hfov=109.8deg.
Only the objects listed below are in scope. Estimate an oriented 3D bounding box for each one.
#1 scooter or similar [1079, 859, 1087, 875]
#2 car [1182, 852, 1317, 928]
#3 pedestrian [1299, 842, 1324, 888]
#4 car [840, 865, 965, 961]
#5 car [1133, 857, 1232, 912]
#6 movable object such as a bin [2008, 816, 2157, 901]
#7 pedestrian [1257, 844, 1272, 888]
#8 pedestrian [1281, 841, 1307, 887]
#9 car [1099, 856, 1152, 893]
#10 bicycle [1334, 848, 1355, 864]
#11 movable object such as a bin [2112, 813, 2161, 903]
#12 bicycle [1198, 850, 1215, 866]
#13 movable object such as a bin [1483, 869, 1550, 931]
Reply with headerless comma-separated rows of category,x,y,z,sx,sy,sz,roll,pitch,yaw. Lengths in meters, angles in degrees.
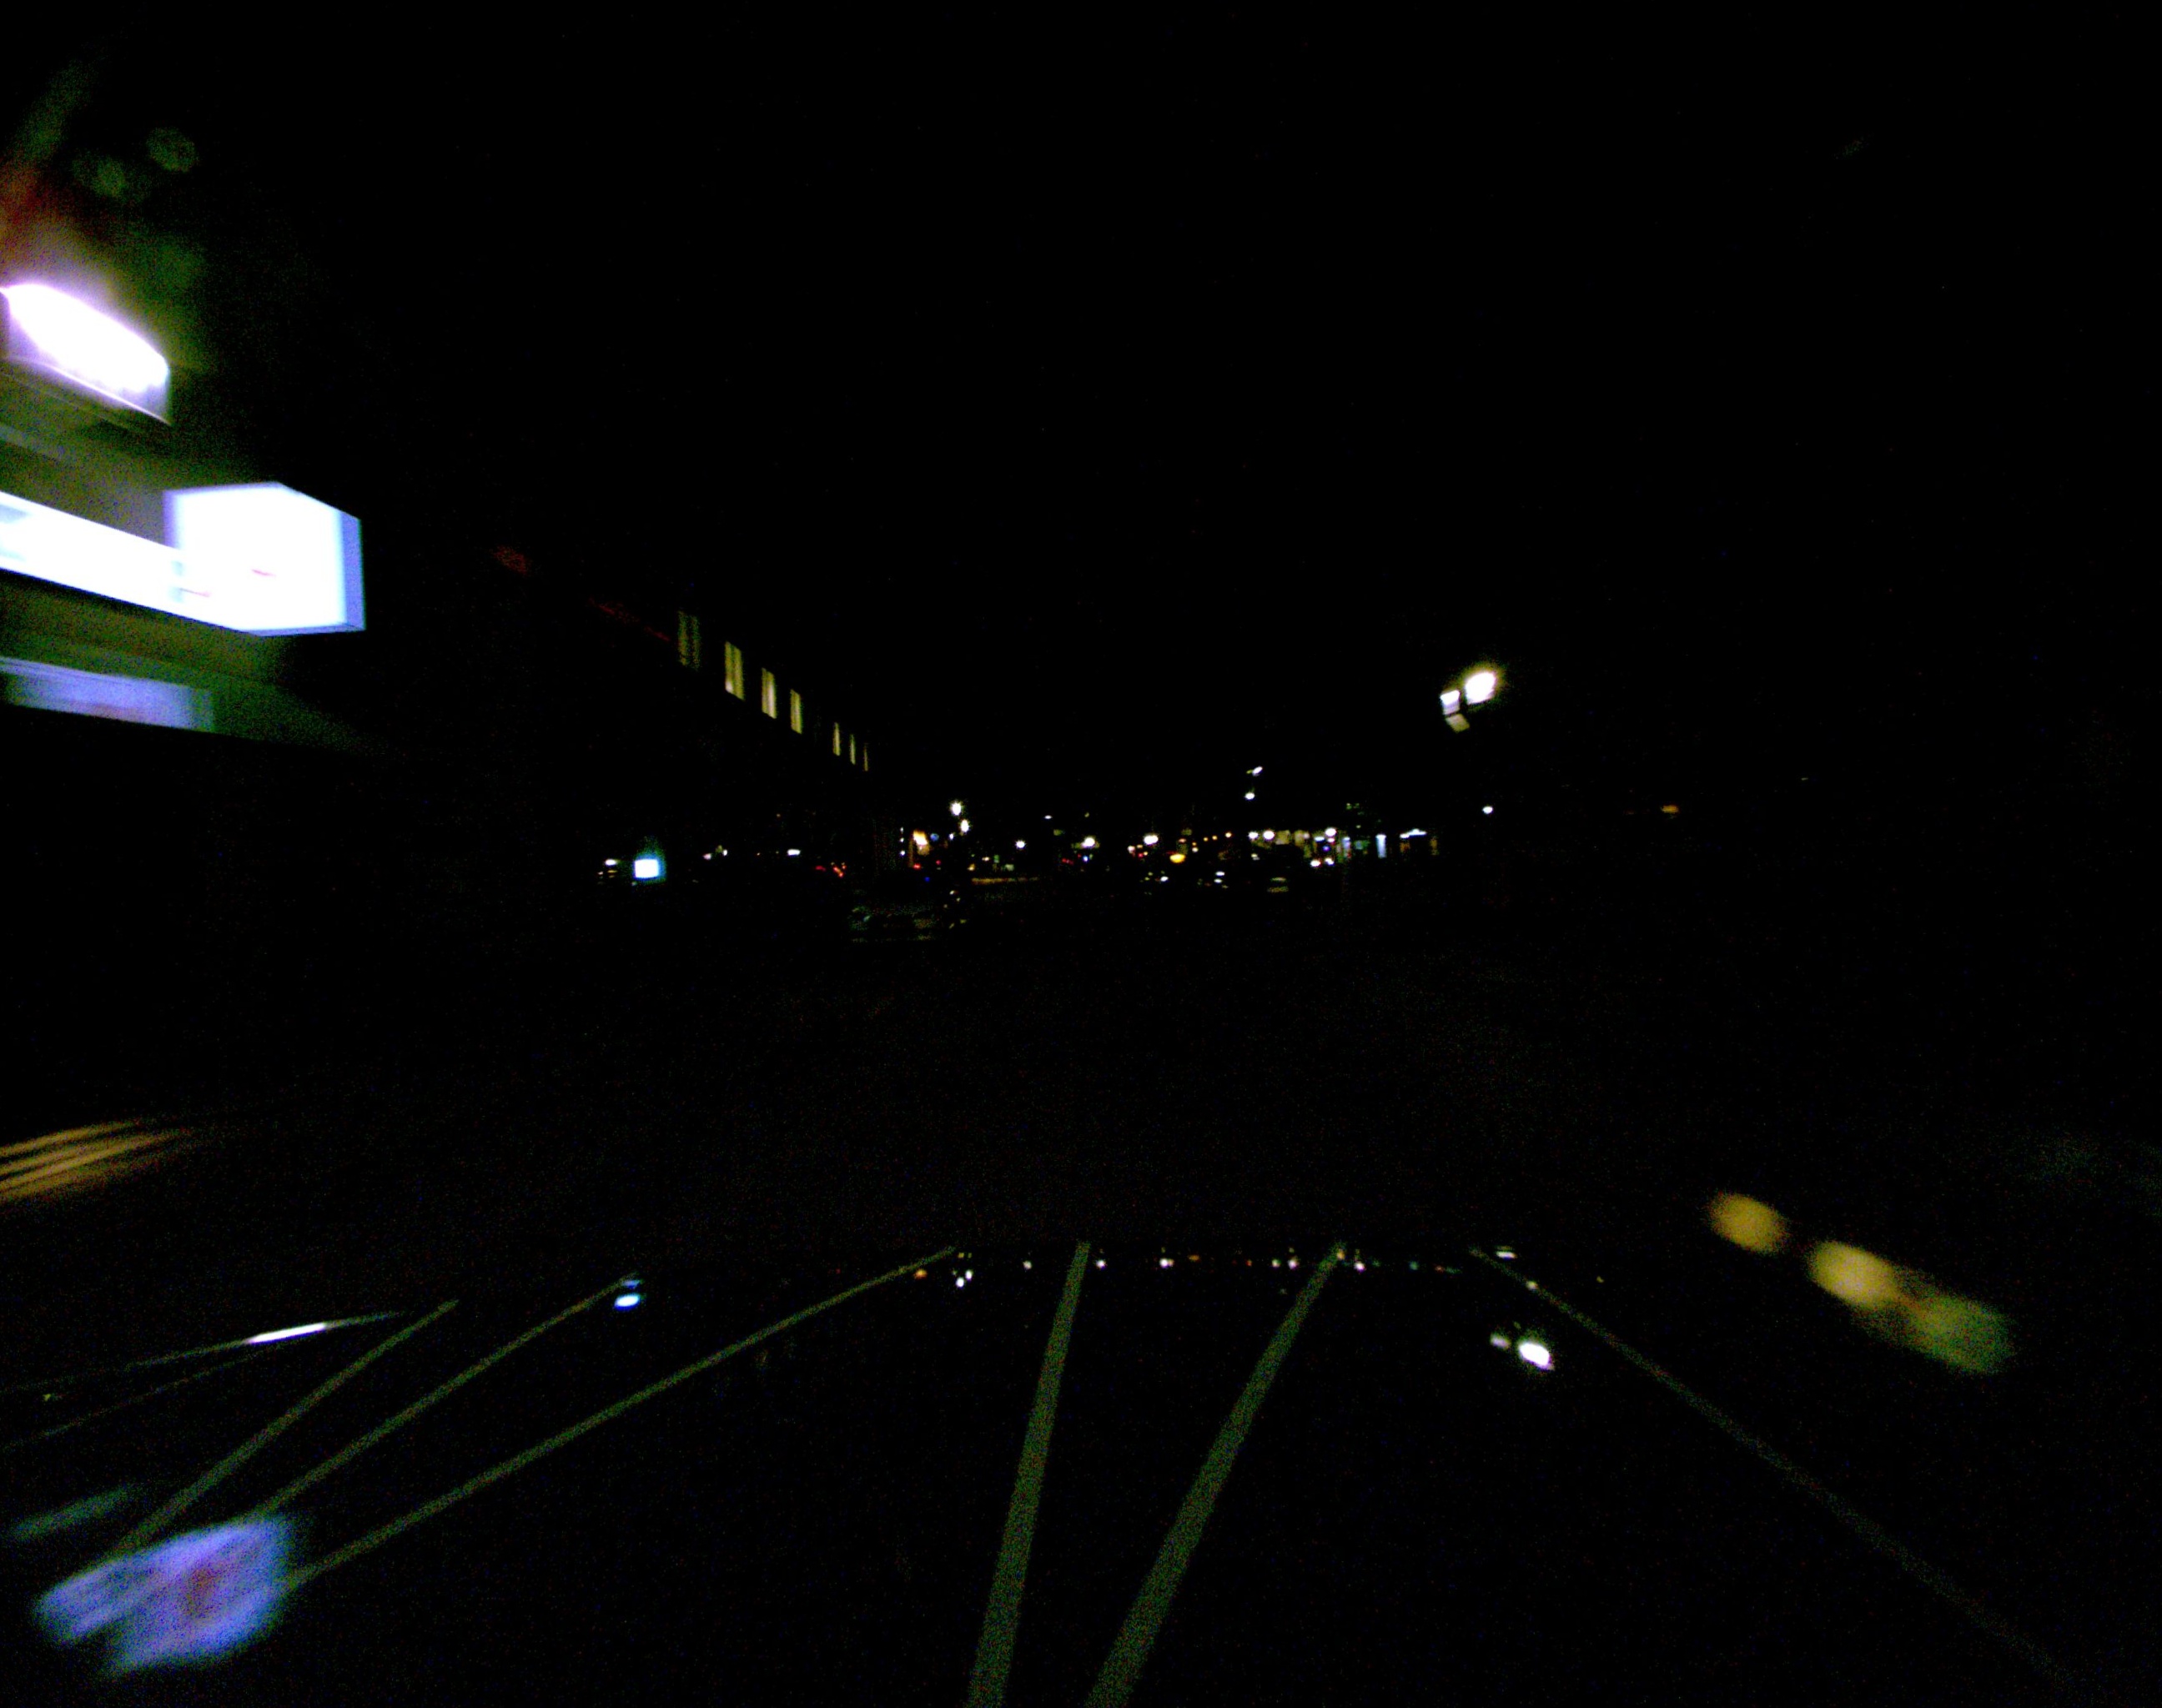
scooter or similar,0.147,1.035,60.890,0.370,1.256,1.448,-4,-1,-6
car,4.093,0.819,19.386,1.764,1.627,4.812,-2,0,-8
pedestrian,9.406,0.440,31.021,0.793,1.807,1.025,-4,1,20
car,-3.477,1.065,15.658,1.747,1.479,4.633,-2,1,-4
car,3.228,0.926,25.275,1.911,1.533,4.778,-3,0,-9
movable object such as a bin,18.262,0.066,13.895,1.039,1.436,1.285,-3,1,-5
pedestrian,7.665,0.486,31.793,0.502,1.811,0.503,-2,2,8
pedestrian,8.859,0.400,31.632,0.879,1.821,0.791,-4,1,19
car,2.041,0.920,36.250,1.776,1.565,4.480,-4,1,-5
bicycle,24.377,0.185,70.387,0.775,1.356,2.508,-2,1,-8
movable object such as a bin,18.343,0.046,12.491,1.134,1.449,1.227,-3,1,-5
bicycle,11.355,0.345,68.706,0.765,1.356,2.411,-2,1,-8
movable object such as a bin,8.040,0.825,14.053,0.749,1.059,0.792,-2,1,-7
